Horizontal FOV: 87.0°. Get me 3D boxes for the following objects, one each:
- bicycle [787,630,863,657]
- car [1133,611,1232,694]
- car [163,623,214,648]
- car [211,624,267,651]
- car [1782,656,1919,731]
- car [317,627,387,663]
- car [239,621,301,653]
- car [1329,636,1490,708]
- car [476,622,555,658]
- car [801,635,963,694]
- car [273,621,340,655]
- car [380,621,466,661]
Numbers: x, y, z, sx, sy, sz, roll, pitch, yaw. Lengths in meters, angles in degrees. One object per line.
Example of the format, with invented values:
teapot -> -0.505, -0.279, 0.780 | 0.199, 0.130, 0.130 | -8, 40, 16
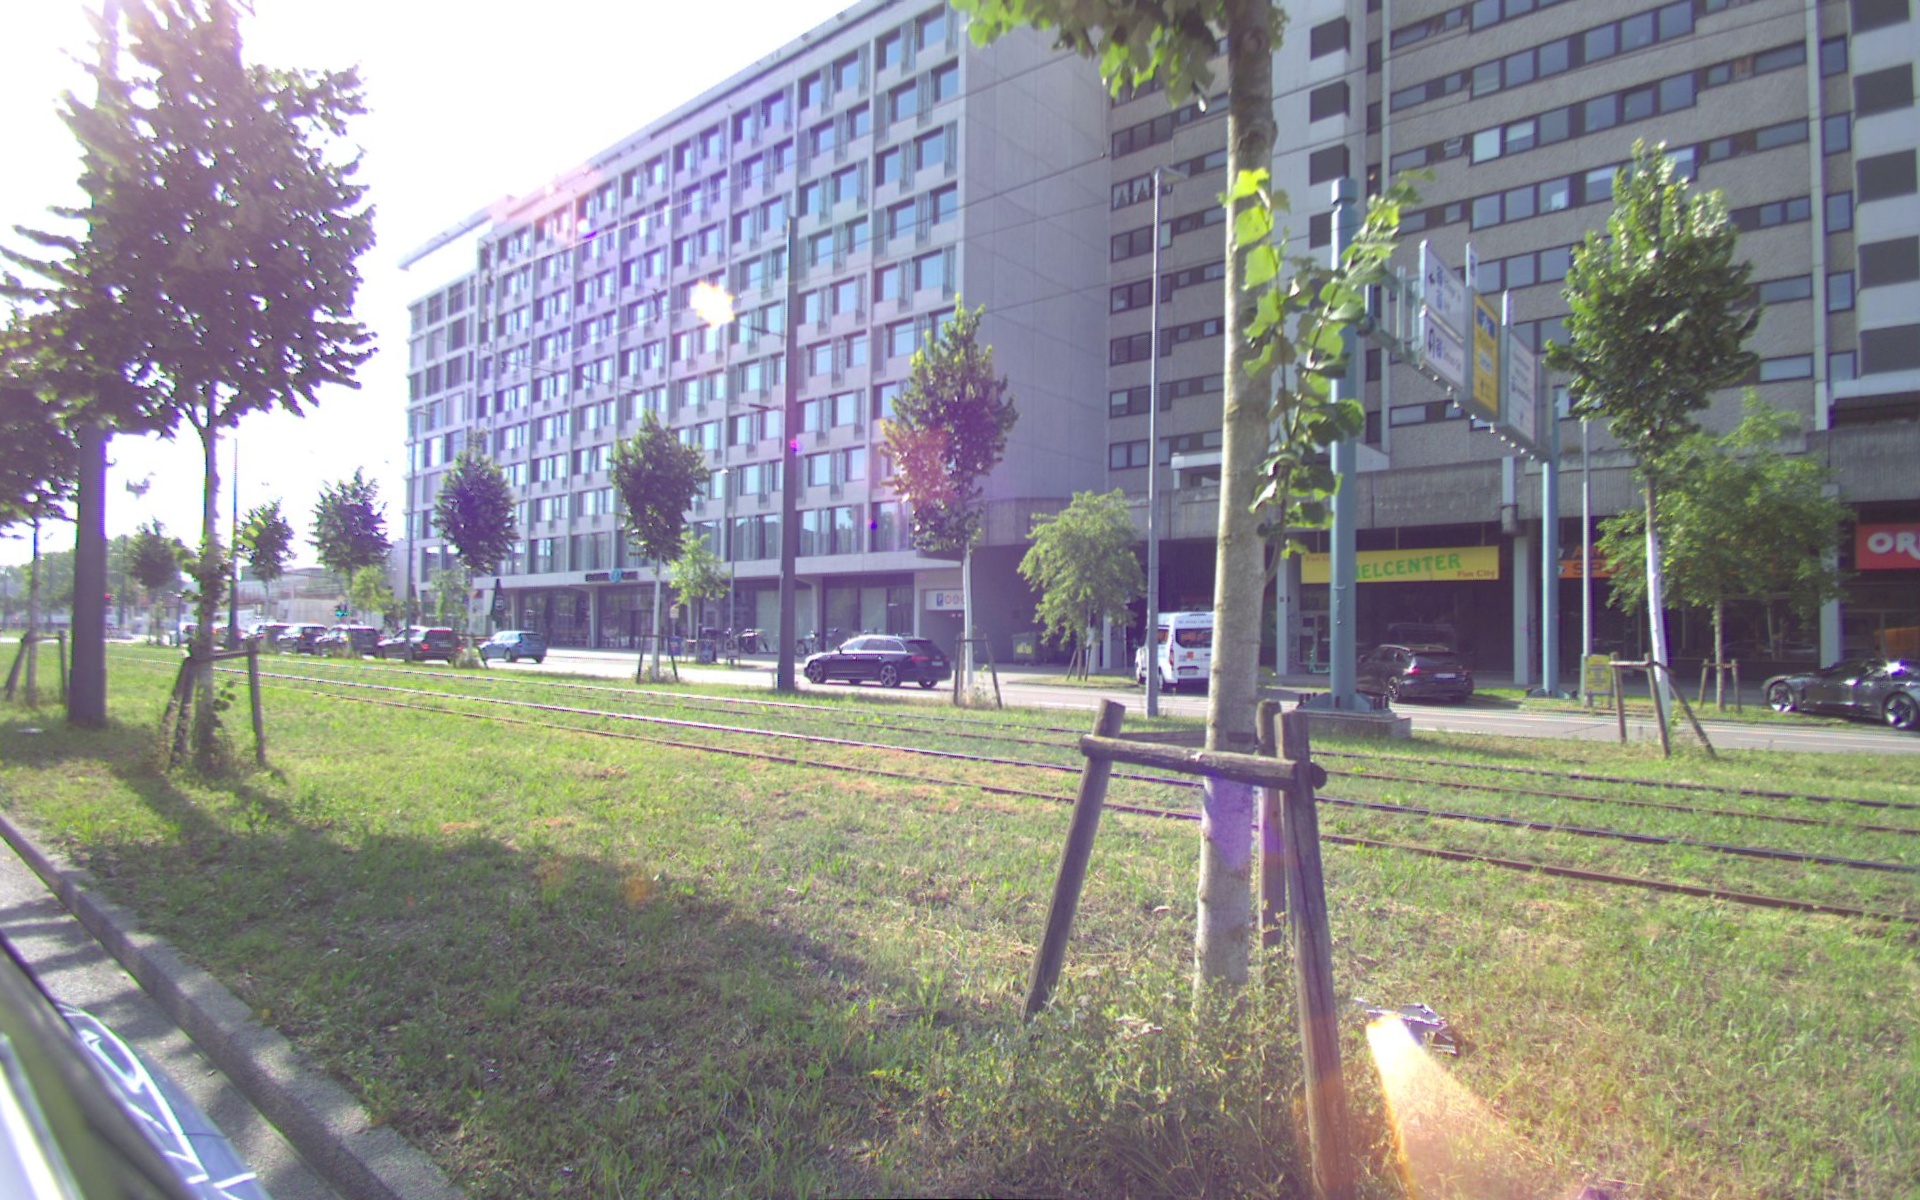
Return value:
bicycle -> -7.021, 2.267, 52.952 | 3.937, 1.377, 1.128 | 2, -3, -40
car -> 6.799, 1.577, 31.503 | 1.858, 2.326, 5.407 | 0, -2, 0
car -> -48.549, 2.220, 63.663 | 3.998, 1.536, 1.764 | -1, -3, 41
car -> -40.681, 2.087, 57.107 | 4.000, 1.486, 1.788 | -1, -3, 43
car -> 19.206, 1.859, 20.449 | 1.853, 1.253, 4.110 | -1, 0, 1
car -> -26.962, 1.970, 44.846 | 3.641, 1.498, 1.722 | -1, -3, 43
car -> -35.906, 1.892, 52.635 | 4.000, 1.586, 1.788 | -1, -3, 43
car -> 11.659, 1.822, 26.579 | 2.070, 1.594, 4.006 | -1, -1, -6
car -> -20.928, 1.852, 47.567 | 4.000, 1.586, 1.972 | -1, -3, 43
car -> -2.268, 1.789, 28.939 | 4.411, 1.502, 1.975 | -1, -2, 37
car -> -31.736, 1.843, 49.088 | 4.000, 1.586, 1.788 | -1, -3, 43
car -> -21.121, 1.596, 39.750 | 4.000, 1.492, 1.788 | -1, -3, 43
